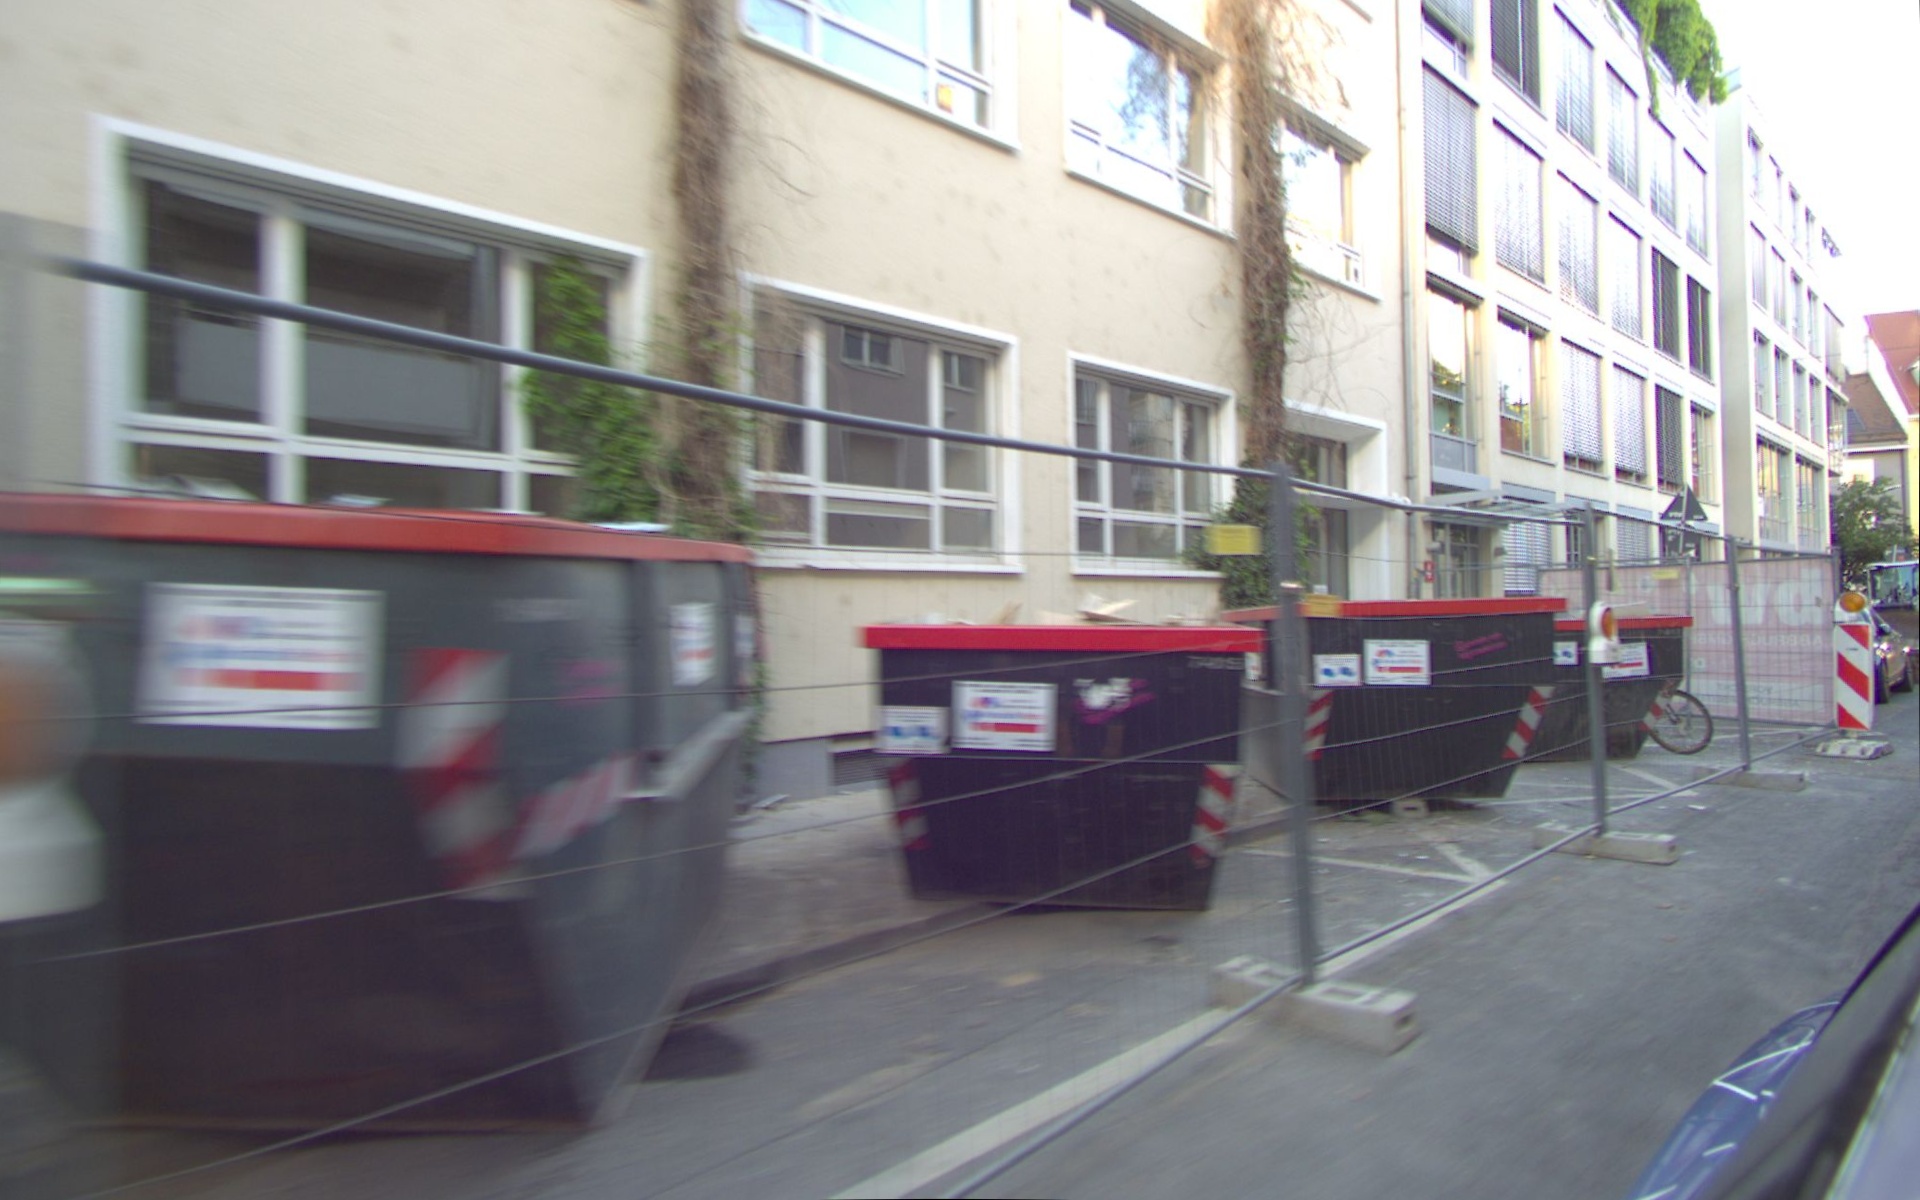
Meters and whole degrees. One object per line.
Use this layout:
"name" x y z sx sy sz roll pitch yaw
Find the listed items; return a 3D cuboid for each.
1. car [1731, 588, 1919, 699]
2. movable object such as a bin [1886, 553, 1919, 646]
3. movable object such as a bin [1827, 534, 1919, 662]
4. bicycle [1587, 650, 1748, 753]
"car" 13.730 0.617 15.820 4.369 1.491 1.789 -1 -2 -41
"movable object such as a bin" 29.664 -0.076 30.350 5.650 2.657 2.018 -1 -3 -41
"movable object such as a bin" 21.953 -0.023 23.357 5.650 2.658 2.018 0 -3 -41
"bicycle" 7.317 1.017 10.570 0.451 0.920 1.805 -1 -1 3
